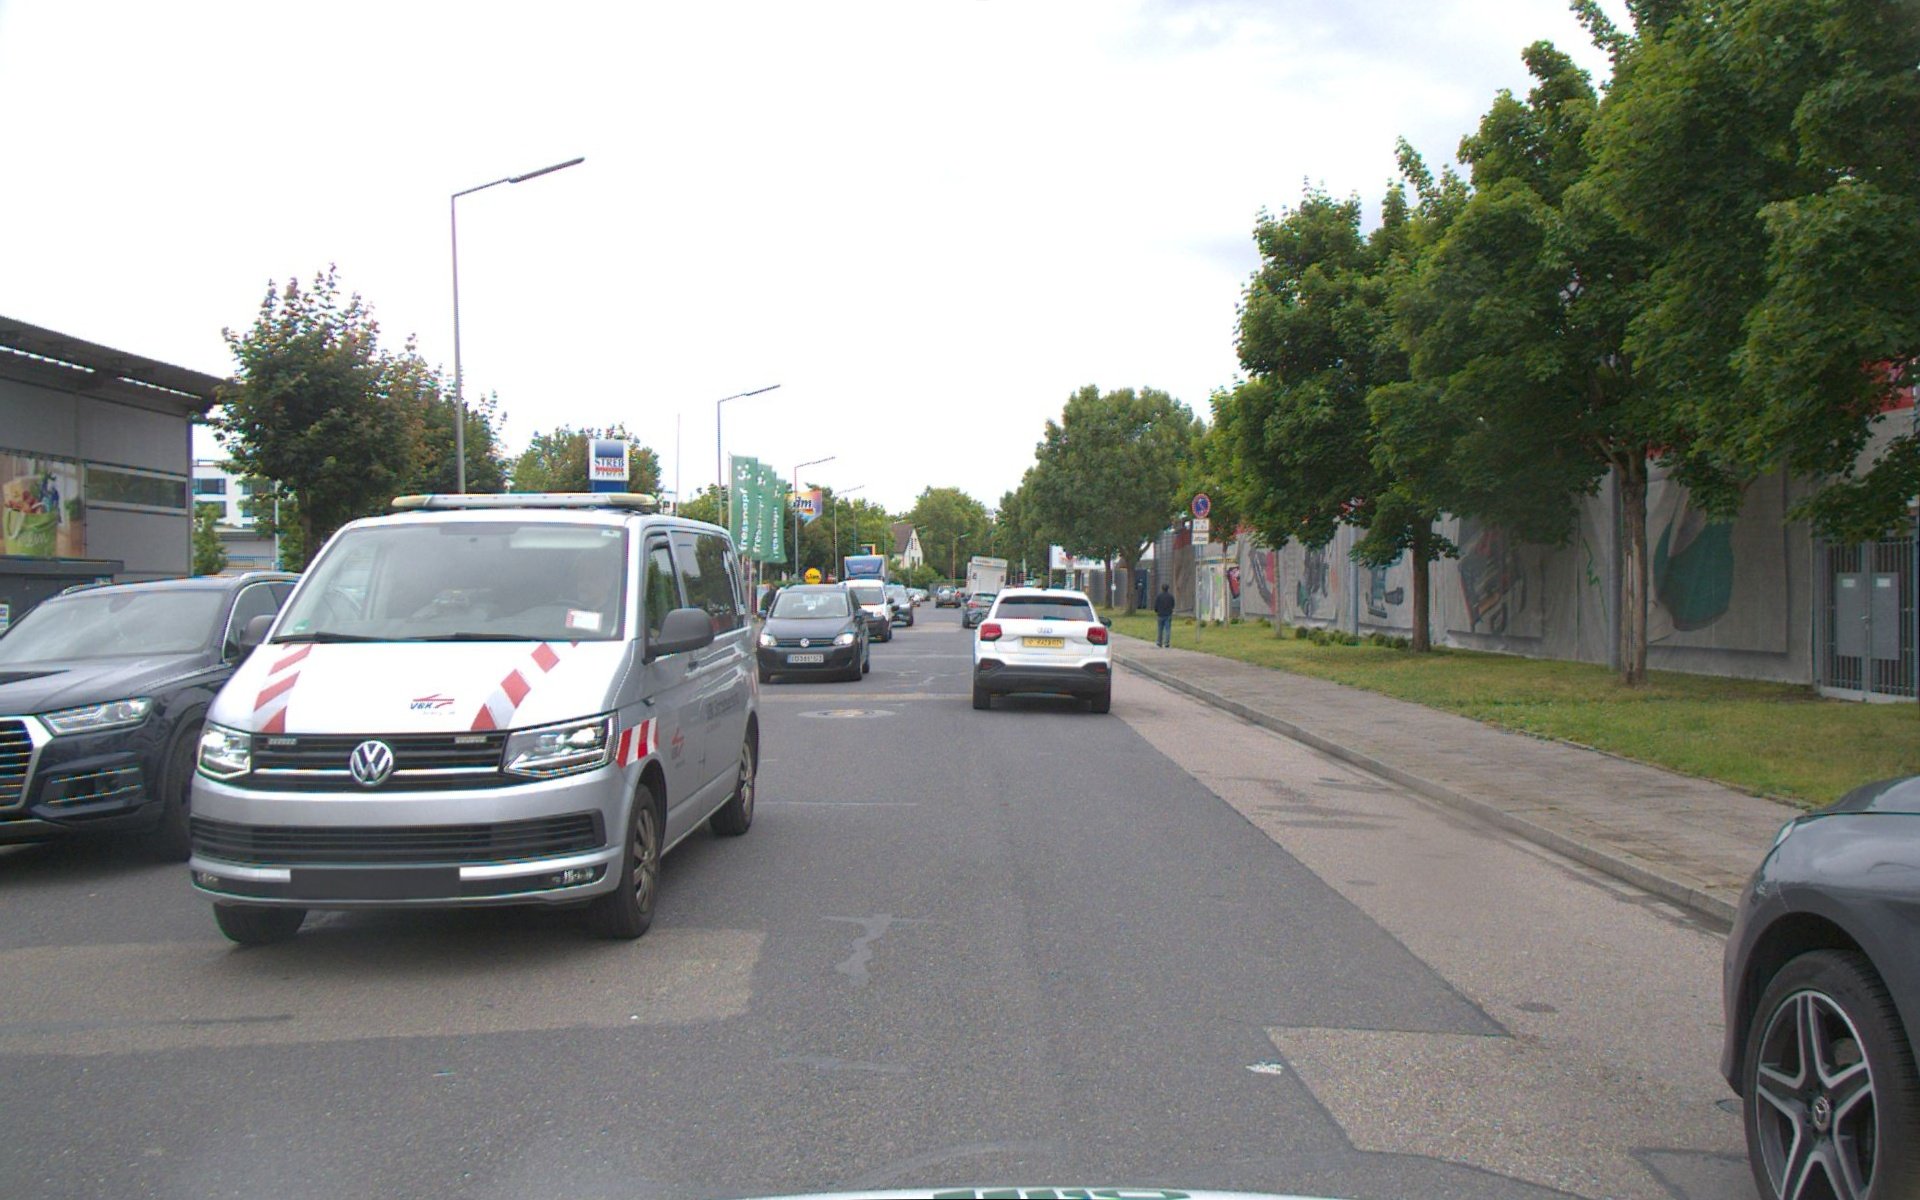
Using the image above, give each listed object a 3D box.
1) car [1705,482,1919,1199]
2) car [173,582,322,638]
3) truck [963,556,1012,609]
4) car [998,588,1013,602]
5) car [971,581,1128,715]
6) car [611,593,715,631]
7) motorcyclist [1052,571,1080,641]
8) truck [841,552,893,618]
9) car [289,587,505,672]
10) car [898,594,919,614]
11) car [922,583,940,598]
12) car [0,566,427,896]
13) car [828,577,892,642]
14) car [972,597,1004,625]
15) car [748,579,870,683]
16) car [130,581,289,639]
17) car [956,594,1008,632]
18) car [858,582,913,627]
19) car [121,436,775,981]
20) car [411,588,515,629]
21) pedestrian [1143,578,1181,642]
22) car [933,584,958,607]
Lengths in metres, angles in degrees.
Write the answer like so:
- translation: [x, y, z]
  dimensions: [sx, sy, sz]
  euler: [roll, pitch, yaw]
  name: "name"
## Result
- translation: [2.981, 0.683, 2.248]
  dimensions: [1.869, 1.771, 4.480]
  euler: [3, 0, 0]
  name: "car"
- translation: [-22.657, 0.303, 52.722]
  dimensions: [3.905, 1.698, 1.876]
  euler: [0, 0, -1]
  name: "car"
- translation: [1.921, -1.230, 120.924]
  dimensions: [3.072, 3.647, 10.047]
  euler: [1, 0, -2]
  name: "truck"
- translation: [5.887, -0.697, 215.682]
  dimensions: [1.848, 1.712, 4.254]
  euler: [2, 0, 0]
  name: "car"
- translation: [1.094, 0.565, 22.094]
  dimensions: [1.848, 1.558, 4.254]
  euler: [2, 0, 0]
  name: "car"
- translation: [-12.123, 0.467, 67.744]
  dimensions: [4.055, 1.489, 1.896]
  euler: [0, 0, -6]
  name: "car"
- translation: [2.412, 0.131, 37.609]
  dimensions: [0.612, 1.581, 0.604]
  euler: [0, 0, 1]
  name: "motorcyclist"
- translation: [-5.948, -0.980, 106.876]
  dimensions: [2.913, 4.025, 6.404]
  euler: [-2, 0, 0]
  name: "truck"
- translation: [-11.633, 0.589, 34.365]
  dimensions: [3.794, 1.649, 1.927]
  euler: [1, 0, 0]
  name: "car"
- translation: [-4.249, 0.322, 137.328]
  dimensions: [1.566, 1.554, 3.528]
  euler: [-2, 0, 0]
  name: "car"
- translation: [-3.394, -1.150, 192.277]
  dimensions: [1.740, 1.684, 3.743]
  euler: [1, 0, -6]
  name: "car"
- translation: [-5.370, 0.722, 11.219]
  dimensions: [1.827, 1.721, 4.729]
  euler: [-4, 0, 1]
  name: "car"
- translation: [-2.896, 0.254, 48.726]
  dimensions: [1.655, 1.791, 4.134]
  euler: [-2, 0, -1]
  name: "car"
- translation: [1.856, 0.734, 111.532]
  dimensions: [1.953, 1.837, 3.998]
  euler: [1, 0, -2]
  name: "car"
- translation: [-2.492, 0.476, 28.109]
  dimensions: [1.694, 1.599, 3.946]
  euler: [-1, 0, 0]
  name: "car"
- translation: [-22.645, 0.296, 50.006]
  dimensions: [3.905, 1.698, 1.876]
  euler: [0, 0, -1]
  name: "car"
- translation: [0.815, 0.471, 64.689]
  dimensions: [1.898, 1.391, 3.999]
  euler: [-1, 0, -1]
  name: "car"
- translation: [-2.976, 0.146, 66.936]
  dimensions: [1.893, 1.713, 4.496]
  euler: [-1, 0, 2]
  name: "car"
- translation: [-2.224, 0.421, 8.767]
  dimensions: [1.887, 2.049, 4.955]
  euler: [-1, 0, 0]
  name: "car"
- translation: [-21.331, 0.363, 71.058]
  dimensions: [3.905, 1.698, 1.876]
  euler: [0, 0, -1]
  name: "car"
- translation: [5.383, 0.274, 44.115]
  dimensions: [0.900, 1.663, 0.853]
  euler: [1, 0, 1]
  name: "pedestrian"
- translation: [-1.163, -0.377, 128.879]
  dimensions: [1.832, 1.691, 3.998]
  euler: [-1, 0, -2]
  name: "car"
